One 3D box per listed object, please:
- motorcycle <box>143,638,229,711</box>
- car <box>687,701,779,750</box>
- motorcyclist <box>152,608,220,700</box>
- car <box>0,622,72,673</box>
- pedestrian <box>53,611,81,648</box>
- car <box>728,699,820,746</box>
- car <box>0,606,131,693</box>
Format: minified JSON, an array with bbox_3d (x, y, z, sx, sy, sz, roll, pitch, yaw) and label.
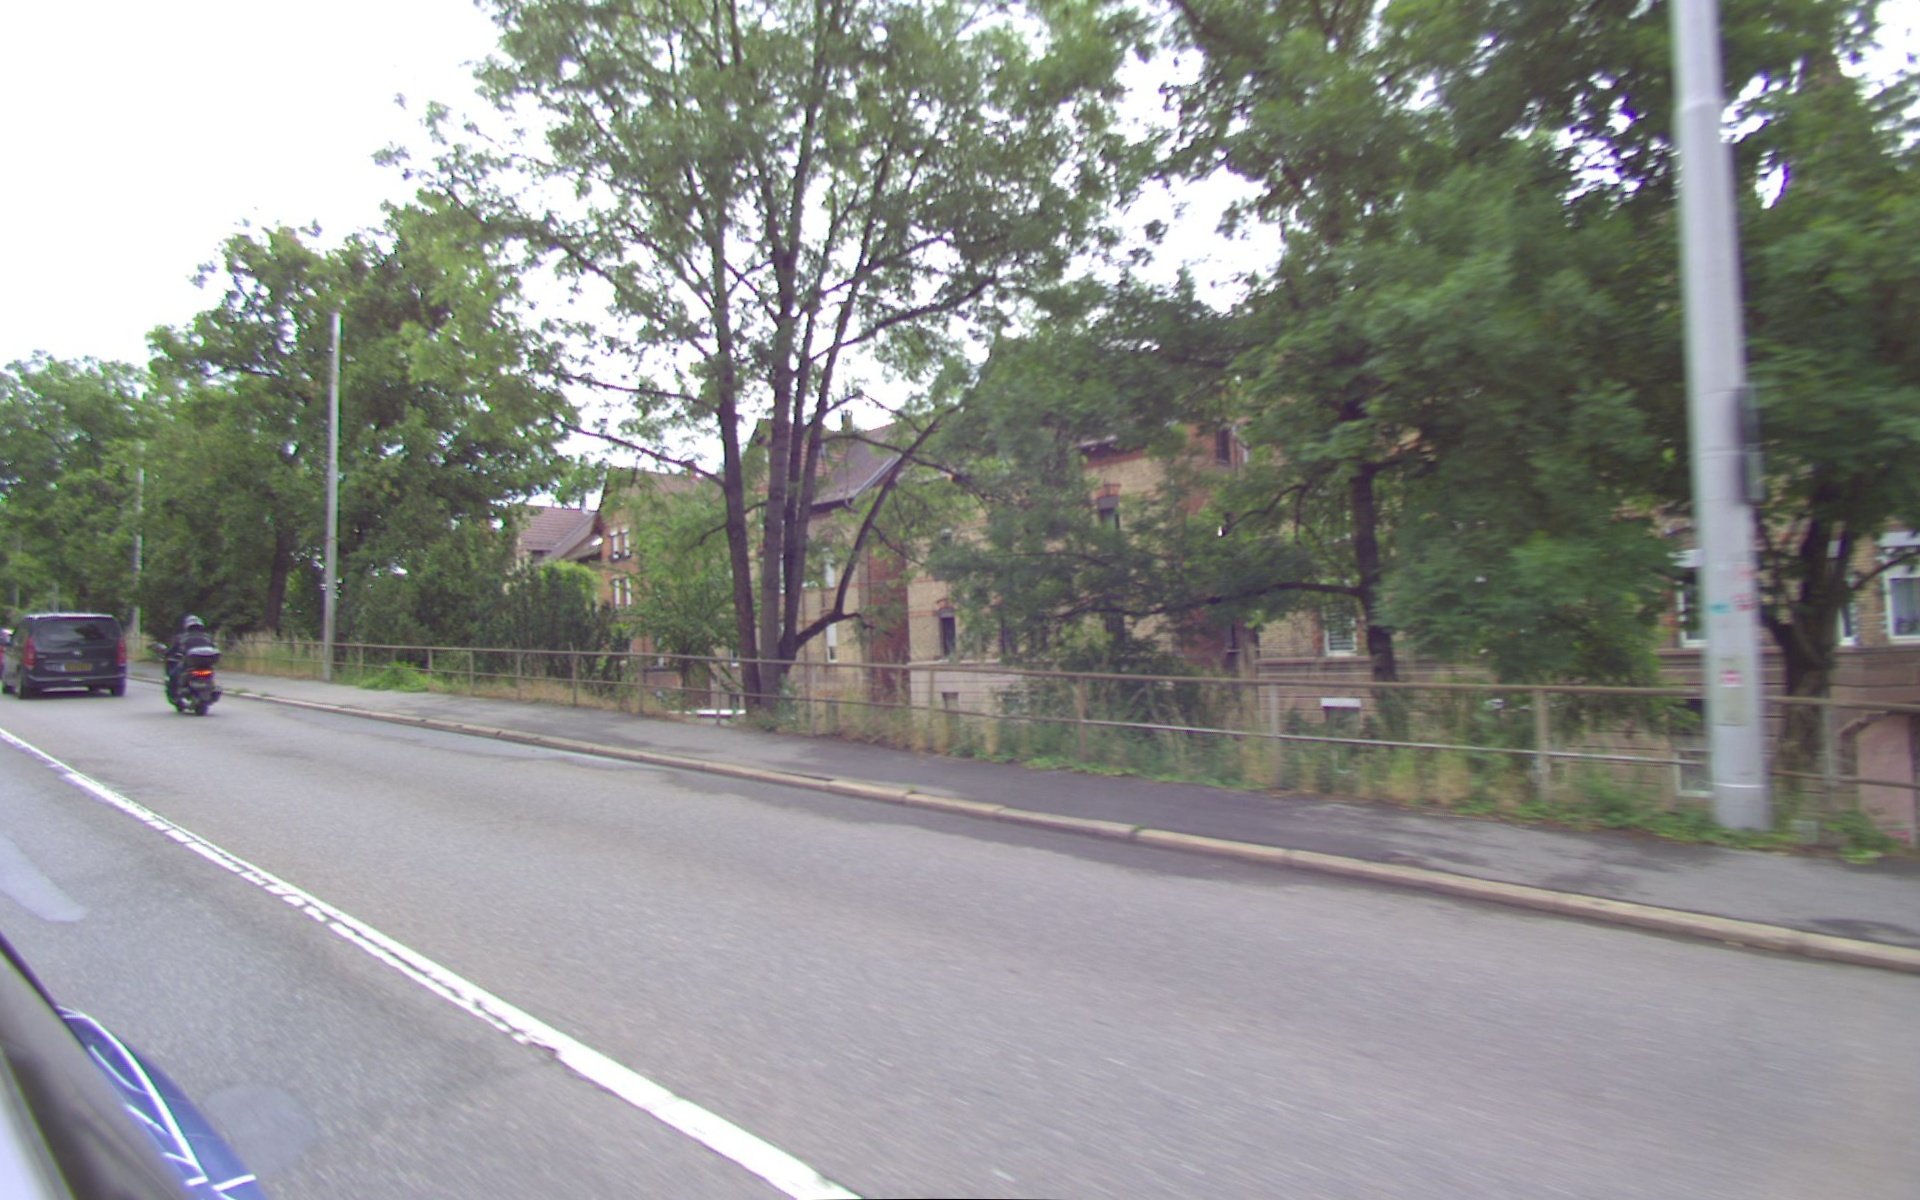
[{"bbox_3d":[-13.276,1.247,17.342,2.056,1.154,0.776,-1,-3,42],"label":"motorcycle"},{"bbox_3d":[-8.775,4.774,38.912,1.772,1.522,4.005,2,-3,-41],"label":"car"},{"bbox_3d":[-13.274,0.921,17.356,0.668,1.528,0.776,-1,-3,41],"label":"motorcyclist"},{"bbox_3d":[-28.842,1.427,31.103,4.427,1.470,1.765,-1,-2,42],"label":"car"},{"bbox_3d":[-43.827,1.439,49.657,1.208,1.787,0.781,-2,1,40],"label":"pedestrian"},{"bbox_3d":[-7.396,4.808,40.060,1.772,1.522,4.005,2,-3,-41],"label":"car"},{"bbox_3d":[-20.127,1.059,22.568,4.426,1.759,1.765,-1,-2,41],"label":"car"}]
